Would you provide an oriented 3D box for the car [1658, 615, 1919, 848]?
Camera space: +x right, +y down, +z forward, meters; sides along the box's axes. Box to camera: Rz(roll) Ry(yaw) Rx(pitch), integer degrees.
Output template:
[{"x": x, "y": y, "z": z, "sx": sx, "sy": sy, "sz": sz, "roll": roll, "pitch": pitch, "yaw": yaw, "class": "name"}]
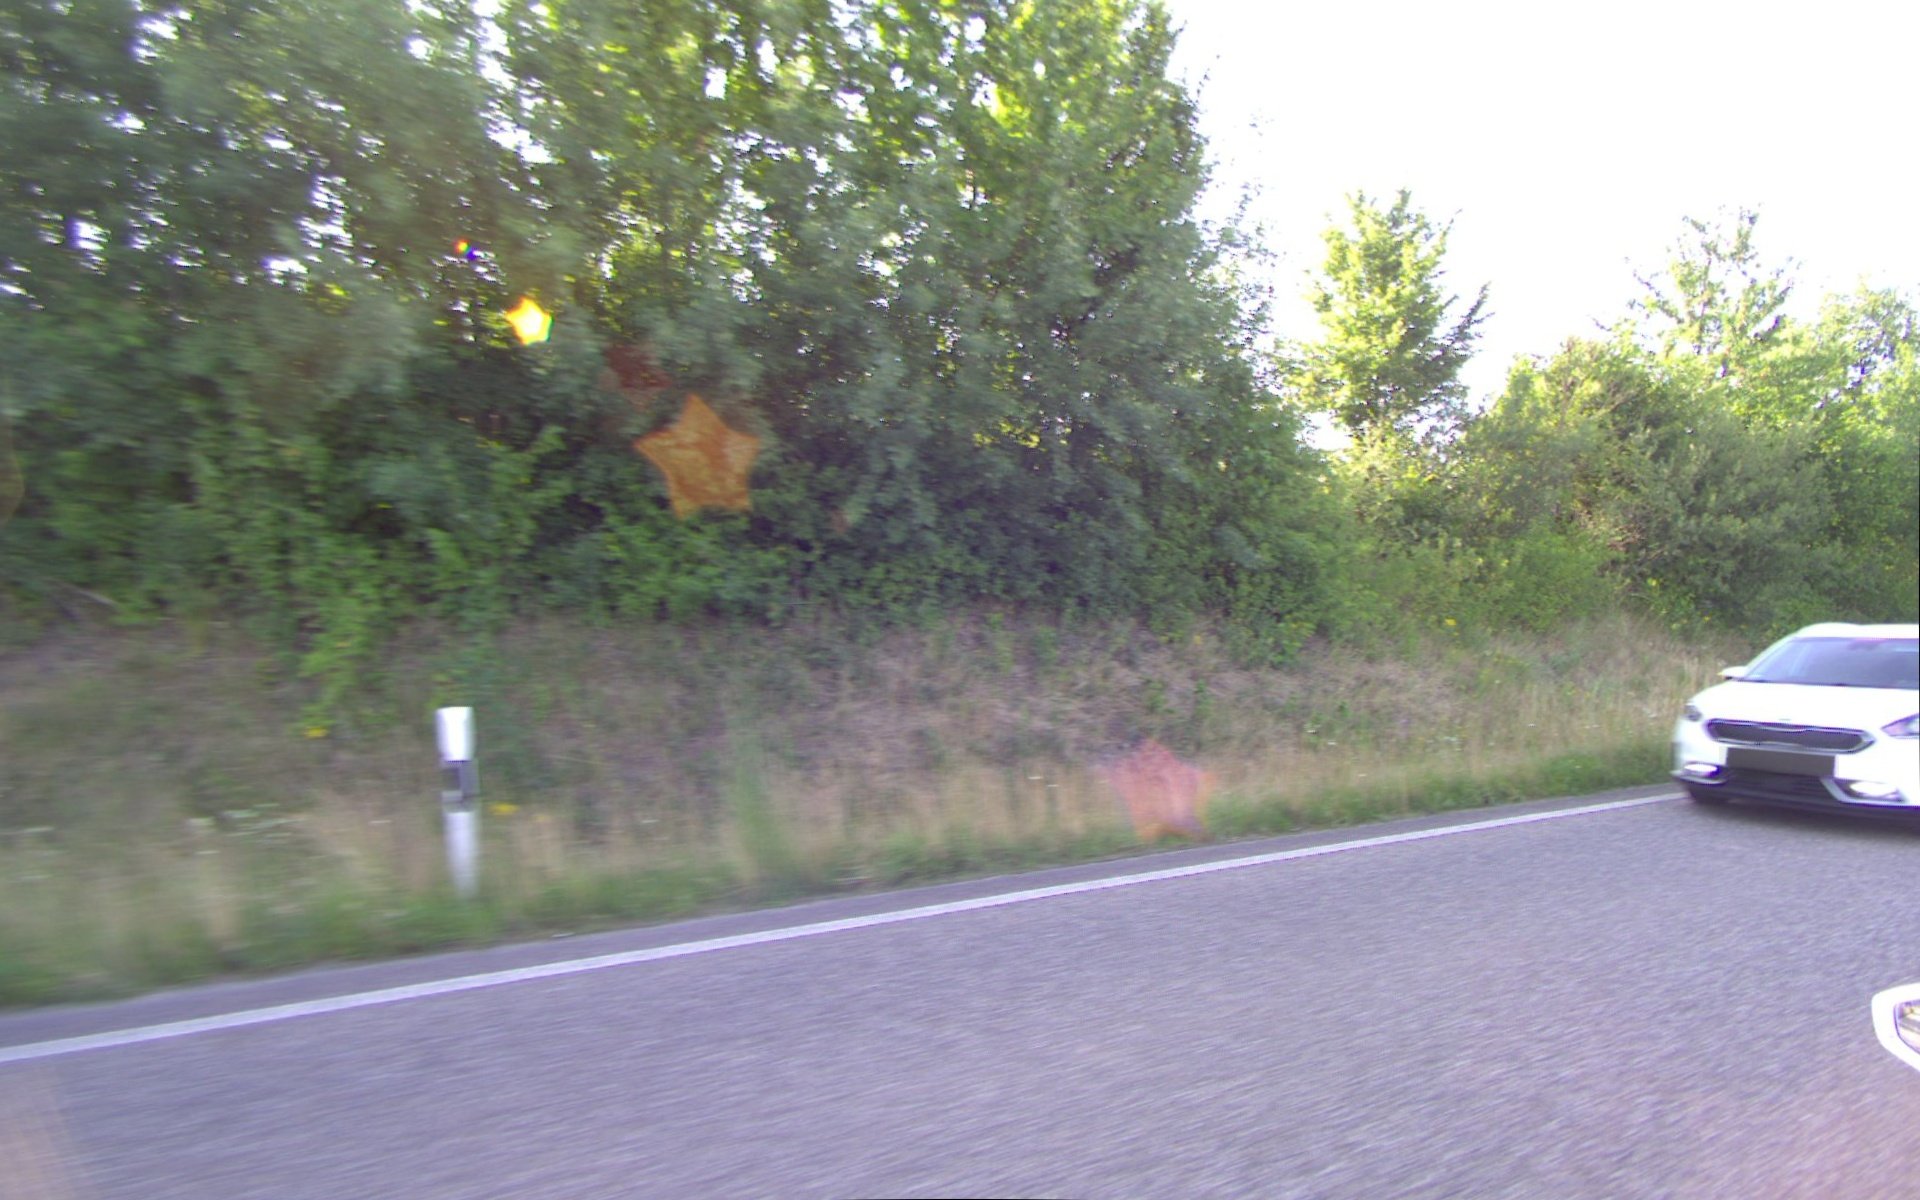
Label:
[{"x": 7.999, "y": 0.957, "z": 8.592, "sx": 4.315, "sy": 1.585, "sz": 1.736, "roll": 1, "pitch": -2, "yaw": -31, "class": "car"}]
